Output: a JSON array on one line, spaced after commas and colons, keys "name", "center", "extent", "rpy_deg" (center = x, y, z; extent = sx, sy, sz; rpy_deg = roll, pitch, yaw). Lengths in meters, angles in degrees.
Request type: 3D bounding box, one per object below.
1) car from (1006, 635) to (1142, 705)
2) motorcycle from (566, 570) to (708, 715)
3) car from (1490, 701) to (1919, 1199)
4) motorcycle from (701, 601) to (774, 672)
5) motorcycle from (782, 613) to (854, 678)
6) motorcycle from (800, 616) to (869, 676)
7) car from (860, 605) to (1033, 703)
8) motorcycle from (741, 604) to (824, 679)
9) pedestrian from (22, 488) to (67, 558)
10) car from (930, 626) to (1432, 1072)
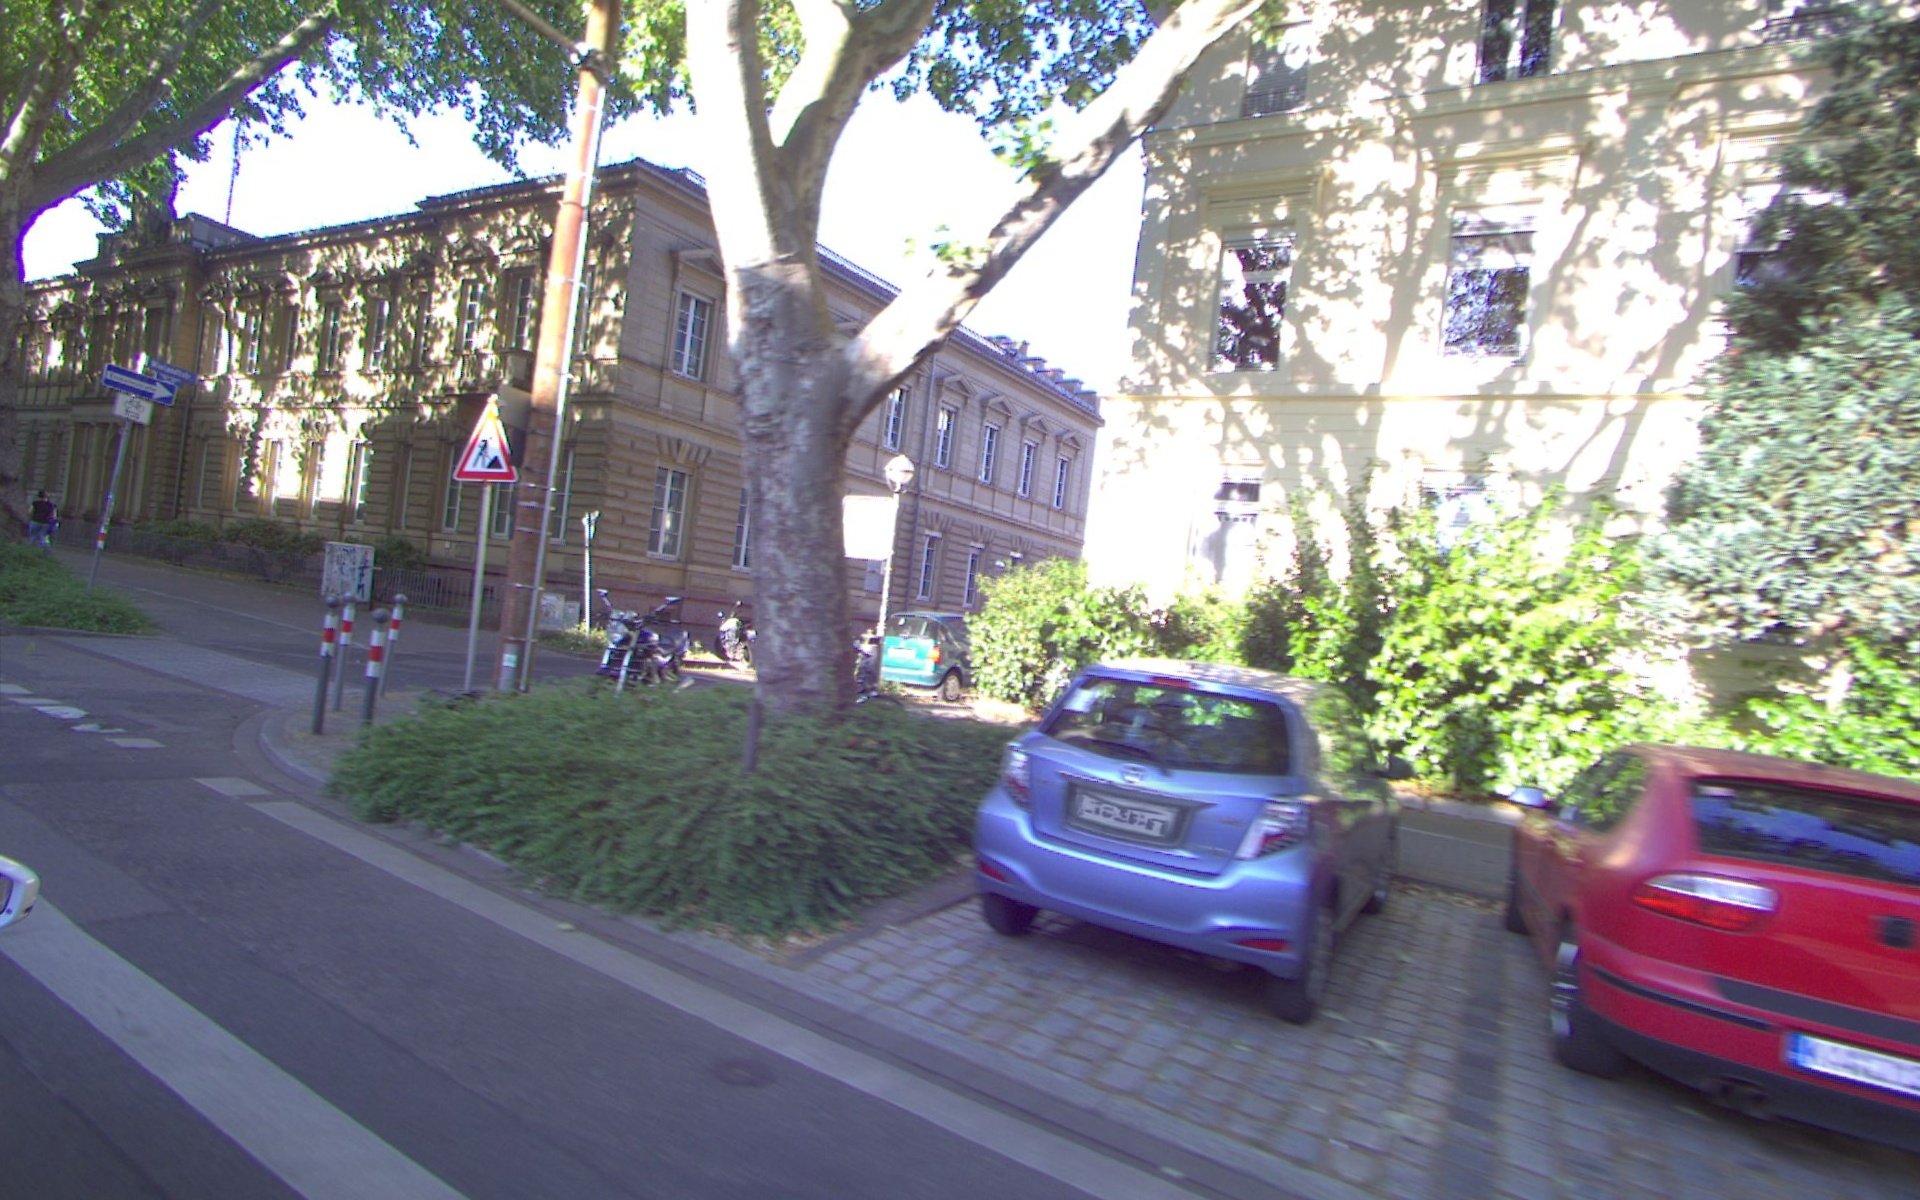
[{"name": "car", "center": [2.738, 1.686, 23.540], "extent": [1.605, 1.340, 3.661], "rpy_deg": [4, -3, 33]}, {"name": "motorcycle", "center": [-3.167, 0.439, 10.095], "extent": [0.466, 1.241, 2.174], "rpy_deg": [7, -2, 3]}, {"name": "car", "center": [3.803, 1.403, 5.064], "extent": [1.651, 1.404, 3.760], "rpy_deg": [7, 0, 25]}, {"name": "motorcycle", "center": [-4.967, 0.792, 22.335], "extent": [0.493, 1.312, 2.158], "rpy_deg": [9, -1, -40]}, {"name": "motorcycle", "center": [-3.415, 1.067, 24.040], "extent": [0.493, 1.311, 2.158], "rpy_deg": [9, -2, -40]}, {"name": "motorcycle", "center": [-3.173, 1.139, 25.317], "extent": [0.493, 1.311, 2.159], "rpy_deg": [9, -3, -40]}, {"name": "car", "center": [-0.169, 1.068, 19.091], "extent": [1.604, 1.607, 3.476], "rpy_deg": [3, -3, 32]}, {"name": "motorcycle", "center": [-4.133, 0.927, 23.286], "extent": [0.566, 1.448, 2.257], "rpy_deg": [8, -1, -44]}, {"name": "pedestrian", "center": [-23.480, -1.968, 25.822], "extent": [0.645, 1.651, 0.862], "rpy_deg": [9, -2, -40]}, {"name": "car", "center": [1.587, 1.093, 5.875], "extent": [1.653, 1.526, 3.757], "rpy_deg": [7, 0, 30]}]
